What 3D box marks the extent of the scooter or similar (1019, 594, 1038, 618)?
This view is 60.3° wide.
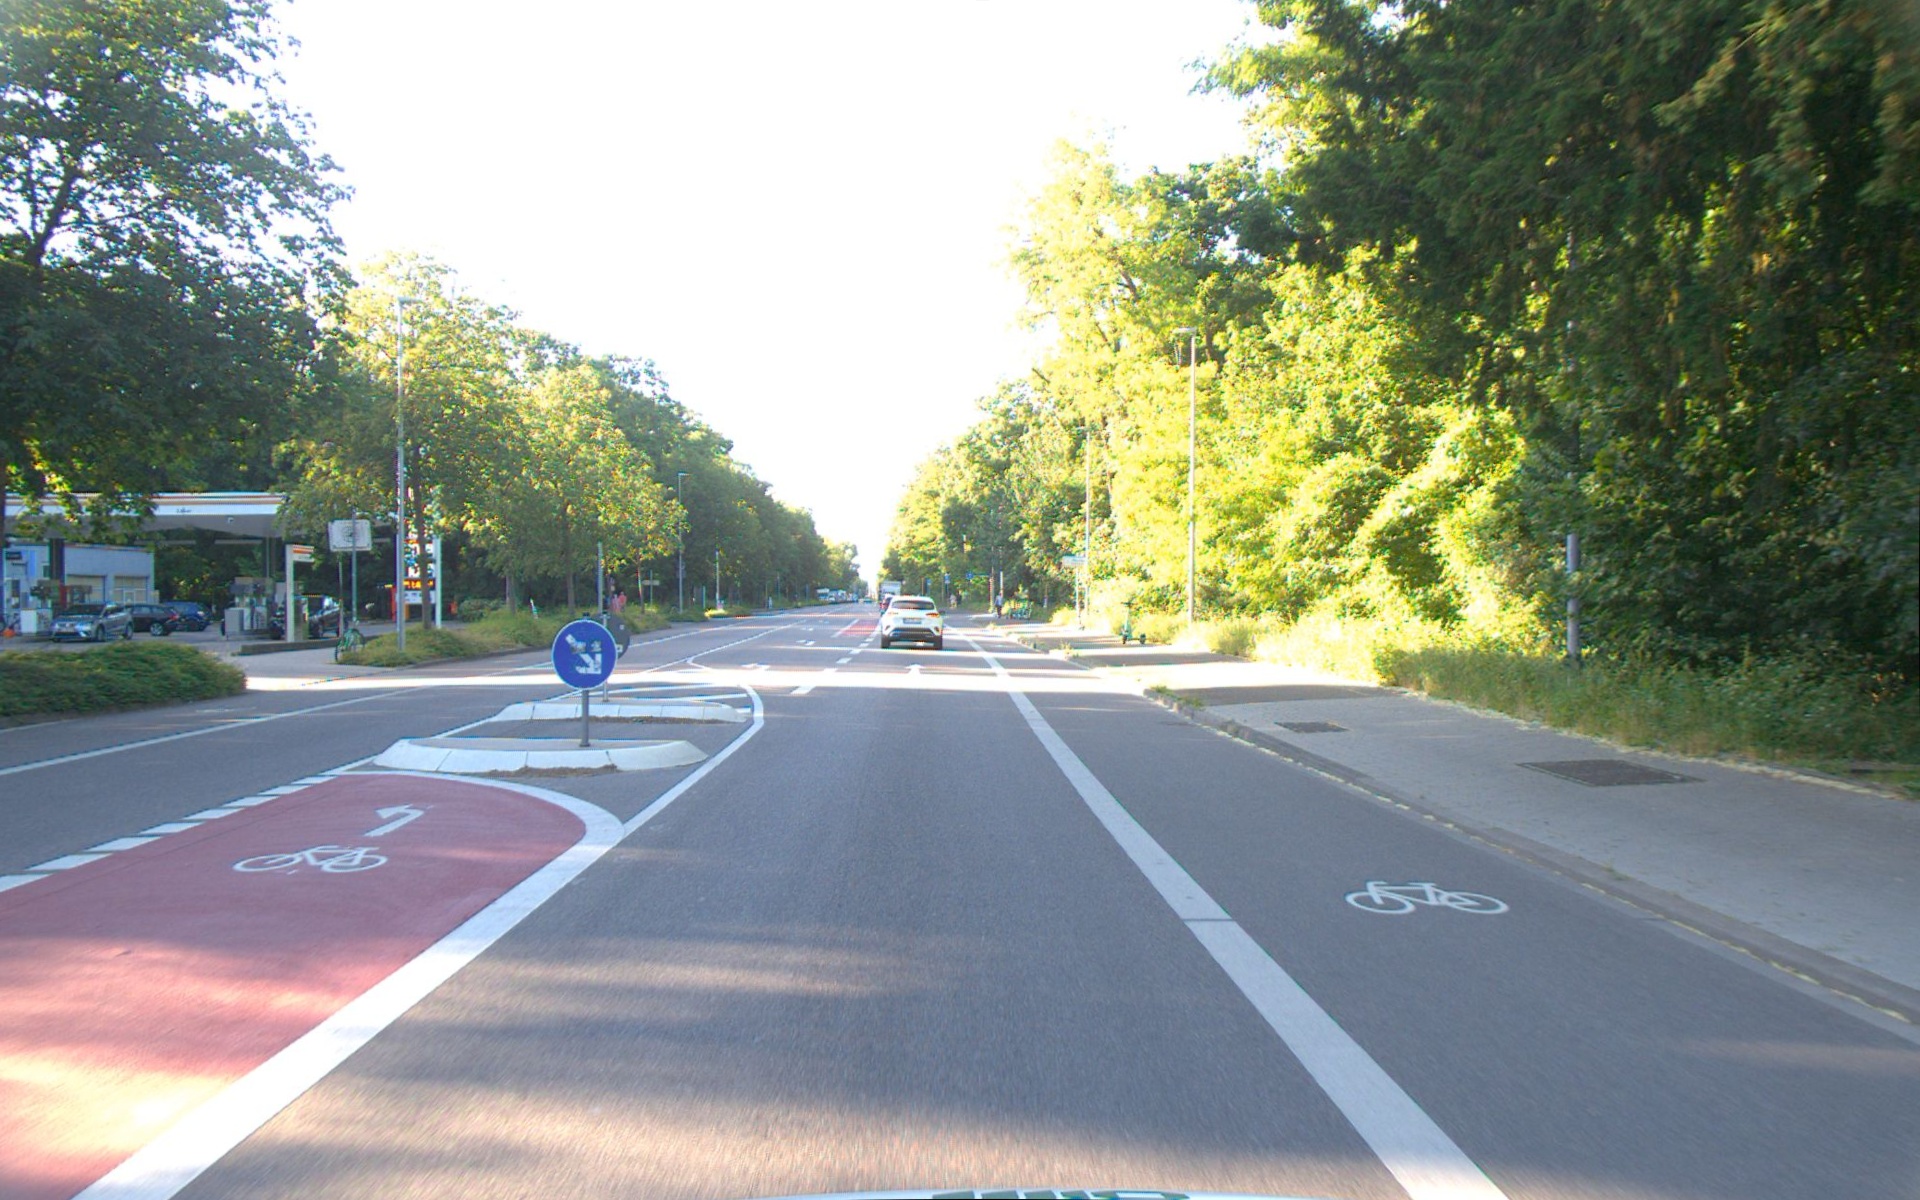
[{"bbox_3d":[3.872,0.355,94.056,0.459,1.329,1.470,-1,0,-24],"label":"scooter or similar"}]

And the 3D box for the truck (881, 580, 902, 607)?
[{"bbox_3d":[-9.681,-0.917,233.553,2.744,3.632,8.028,1,0,-4],"label":"truck"}]

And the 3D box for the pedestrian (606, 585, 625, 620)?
[{"bbox_3d":[-20.753,0.149,99.734,0.703,2.049,0.873,-1,0,28],"label":"pedestrian"}]

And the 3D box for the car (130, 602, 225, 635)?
[{"bbox_3d":[-39.559,0.934,83.649,3.912,1.582,1.896,-1,0,-8],"label":"car"}]

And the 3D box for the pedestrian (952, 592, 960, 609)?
[{"bbox_3d":[-0.377,0.052,160.999,0.684,1.682,0.876,-1,0,-3],"label":"pedestrian"}]

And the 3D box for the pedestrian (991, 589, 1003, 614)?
[{"bbox_3d":[2.371,0.093,104.967,0.739,1.591,0.802,-1,0,2],"label":"pedestrian"}]

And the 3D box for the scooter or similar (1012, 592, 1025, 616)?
[{"bbox_3d":[3.585,0.259,101.208,0.668,1.448,1.681,-1,0,-2],"label":"scooter or similar"}]

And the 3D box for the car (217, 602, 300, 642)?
[{"bbox_3d":[-28.892,0.871,68.255,1.676,1.524,4.575,-1,0,-3],"label":"car"}]

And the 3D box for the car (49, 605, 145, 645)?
[{"bbox_3d":[-32.697,0.925,62.769,1.677,1.400,4.057,-1,0,-3],"label":"car"}]

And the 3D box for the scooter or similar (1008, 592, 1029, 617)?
[{"bbox_3d":[3.475,0.279,98.210,0.671,1.448,1.673,-1,0,-18],"label":"scooter or similar"}]

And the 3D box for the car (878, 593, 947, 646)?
[{"bbox_3d":[-1.449,0.552,48.811,1.727,1.485,3.813,1,0,-6],"label":"car"}]

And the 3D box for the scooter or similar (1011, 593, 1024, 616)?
[{"bbox_3d":[3.608,0.292,104.263,0.668,1.448,1.681,-1,0,-2],"label":"scooter or similar"}]

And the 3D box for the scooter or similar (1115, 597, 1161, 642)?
[{"bbox_3d":[5.245,0.564,48.617,0.525,1.272,1.531,-1,0,44],"label":"scooter or similar"}]

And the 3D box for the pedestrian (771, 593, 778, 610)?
[{"bbox_3d":[-22.665,0.169,202.041,0.815,2.049,1.268,-1,0,-4],"label":"pedestrian"}]

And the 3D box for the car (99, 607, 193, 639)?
[{"bbox_3d":[-36.983,1.028,75.213,3.564,1.377,1.708,-1,0,-17],"label":"car"}]

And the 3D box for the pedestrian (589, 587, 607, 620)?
[{"bbox_3d":[-22.474,0.233,102.709,0.703,2.049,0.795,-1,0,31],"label":"pedestrian"}]

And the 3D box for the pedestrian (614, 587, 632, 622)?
[{"bbox_3d":[-20.334,0.279,99.782,0.703,2.049,0.746,-1,0,28],"label":"pedestrian"}]

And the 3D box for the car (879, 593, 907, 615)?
[{"bbox_3d":[-4.876,0.283,120.318,1.953,1.545,3.998,-1,0,-2],"label":"car"}]

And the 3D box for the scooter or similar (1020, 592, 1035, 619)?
[{"bbox_3d":[3.775,0.303,92.197,0.668,1.448,1.681,-1,0,-3],"label":"scooter or similar"}]

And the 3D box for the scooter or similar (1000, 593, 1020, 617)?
[{"bbox_3d":[3.008,0.279,99.870,0.671,1.448,1.673,-1,0,-18],"label":"scooter or similar"}]

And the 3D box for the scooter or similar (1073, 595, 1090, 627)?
[{"bbox_3d":[4.871,0.442,66.464,0.522,1.272,1.540,-1,0,-2],"label":"scooter or similar"}]

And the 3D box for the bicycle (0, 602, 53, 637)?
[{"bbox_3d":[-40.375,0.838,71.497,1.800,1.503,0.927,-1,0,-2],"label":"bicycle"}]

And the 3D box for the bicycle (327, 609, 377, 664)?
[{"bbox_3d":[-14.635,0.861,39.877,0.642,1.272,2.156,-1,0,-7],"label":"bicycle"}]

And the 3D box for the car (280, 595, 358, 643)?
[{"bbox_3d":[-24.663,0.703,63.806,1.678,1.721,4.447,-1,0,-6],"label":"car"}]

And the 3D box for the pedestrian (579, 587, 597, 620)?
[{"bbox_3d":[-22.930,0.229,102.015,0.703,2.049,0.795,-1,0,30],"label":"pedestrian"}]

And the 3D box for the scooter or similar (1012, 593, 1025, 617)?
[{"bbox_3d":[3.625,0.290,102.723,0.667,1.448,1.246,-1,0,6],"label":"scooter or similar"}]

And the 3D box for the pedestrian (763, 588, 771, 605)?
[{"bbox_3d":[-23.582,-0.388,201.959,0.846,2.049,1.268,-1,0,-3],"label":"pedestrian"}]

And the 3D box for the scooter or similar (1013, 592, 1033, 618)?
[{"bbox_3d":[3.677,0.283,96.146,0.671,1.448,1.674,-1,0,-16],"label":"scooter or similar"}]
